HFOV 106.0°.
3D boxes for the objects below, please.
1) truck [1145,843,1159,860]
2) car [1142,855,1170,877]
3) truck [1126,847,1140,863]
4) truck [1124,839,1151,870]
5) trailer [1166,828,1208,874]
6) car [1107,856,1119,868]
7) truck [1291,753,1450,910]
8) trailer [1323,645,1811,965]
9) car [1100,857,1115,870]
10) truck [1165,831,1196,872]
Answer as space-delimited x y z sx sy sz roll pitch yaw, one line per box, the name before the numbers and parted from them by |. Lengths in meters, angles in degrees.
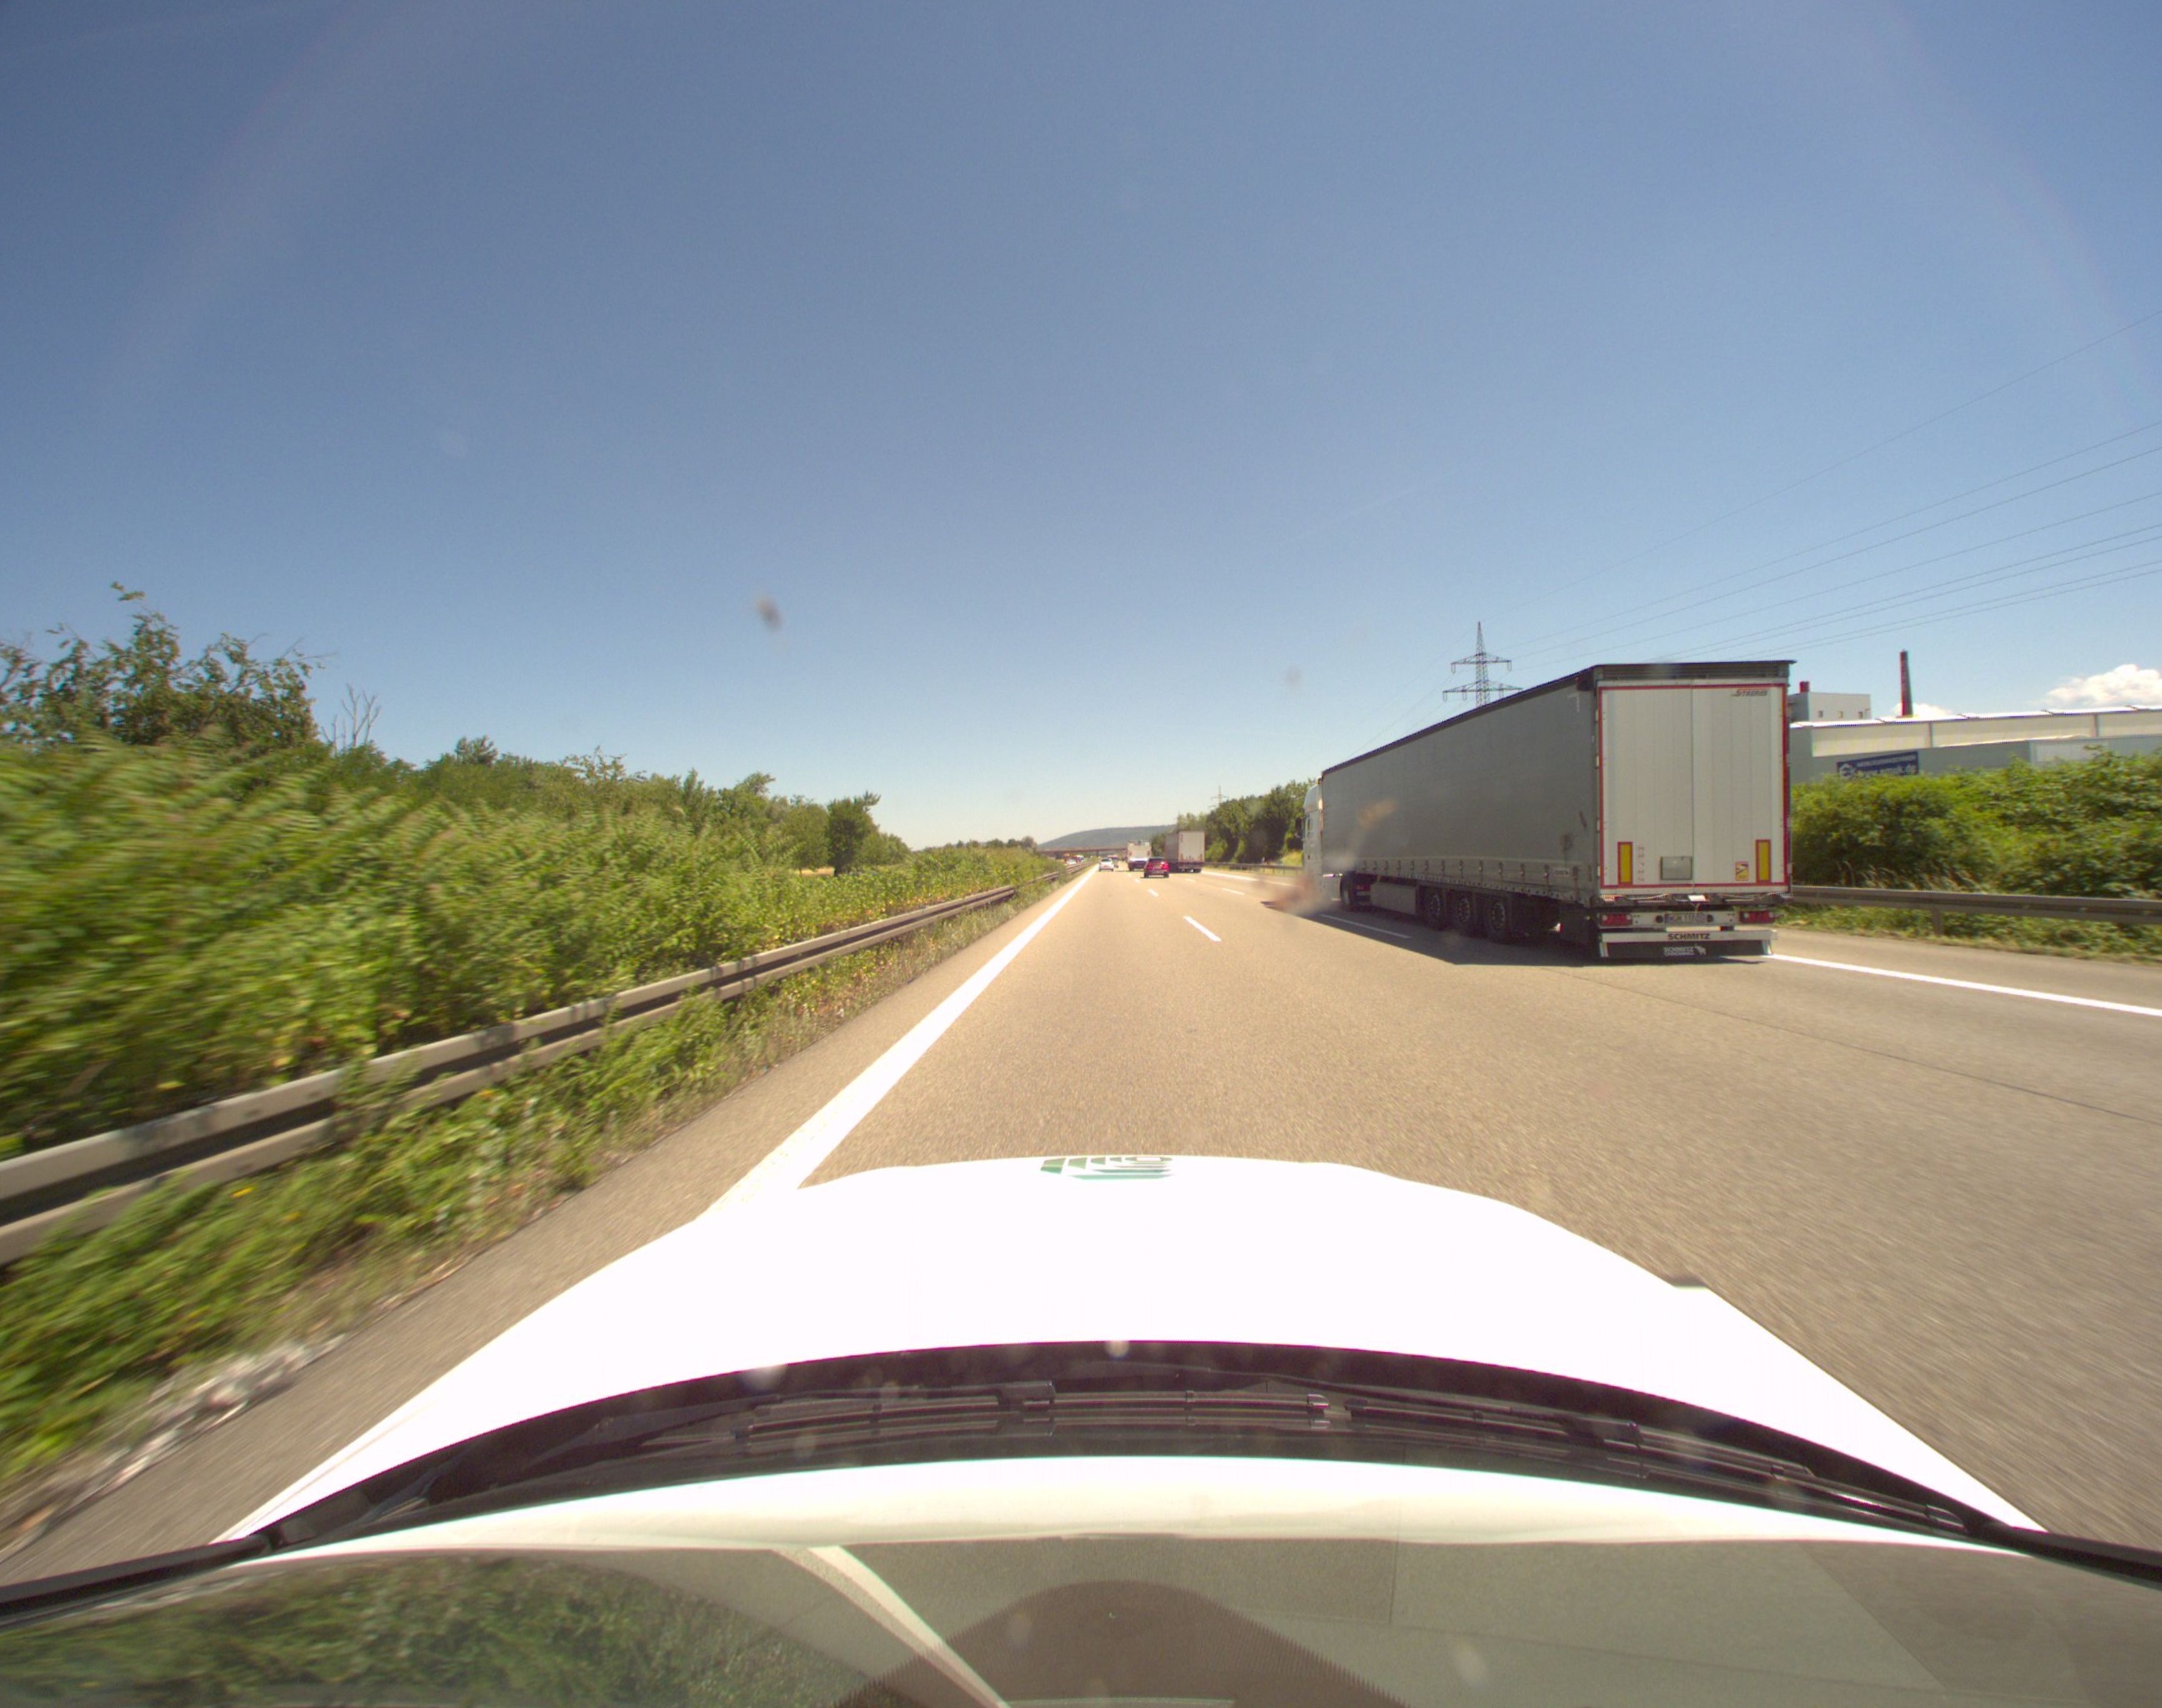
truck | 14.622 -0.464 167.816 2.213 3.209 10.388 -2 0 2
car | 5.672 0.891 61.921 1.796 1.545 4.002 -1 0 2
truck | 15.716 0.276 246.902 3.507 4.416 14.596 -3 0 2
truck | 6.475 0.106 93.997 2.772 3.373 8.130 -1 -1 2
trailer | 10.478 -0.262 81.758 2.778 4.164 13.581 -2 0 2
car | 4.969 1.237 125.841 1.754 1.850 4.002 -2 0 2
truck | 8.492 -0.579 24.715 2.726 4.120 6.127 -1 0 2
trailer | 8.262 -0.609 17.150 2.726 4.106 13.126 -1 0 2
car | 3.071 1.096 94.783 1.601 1.467 4.002 -2 0 2
truck | 10.758 -0.233 88.524 2.784 4.164 5.725 -2 0 2
